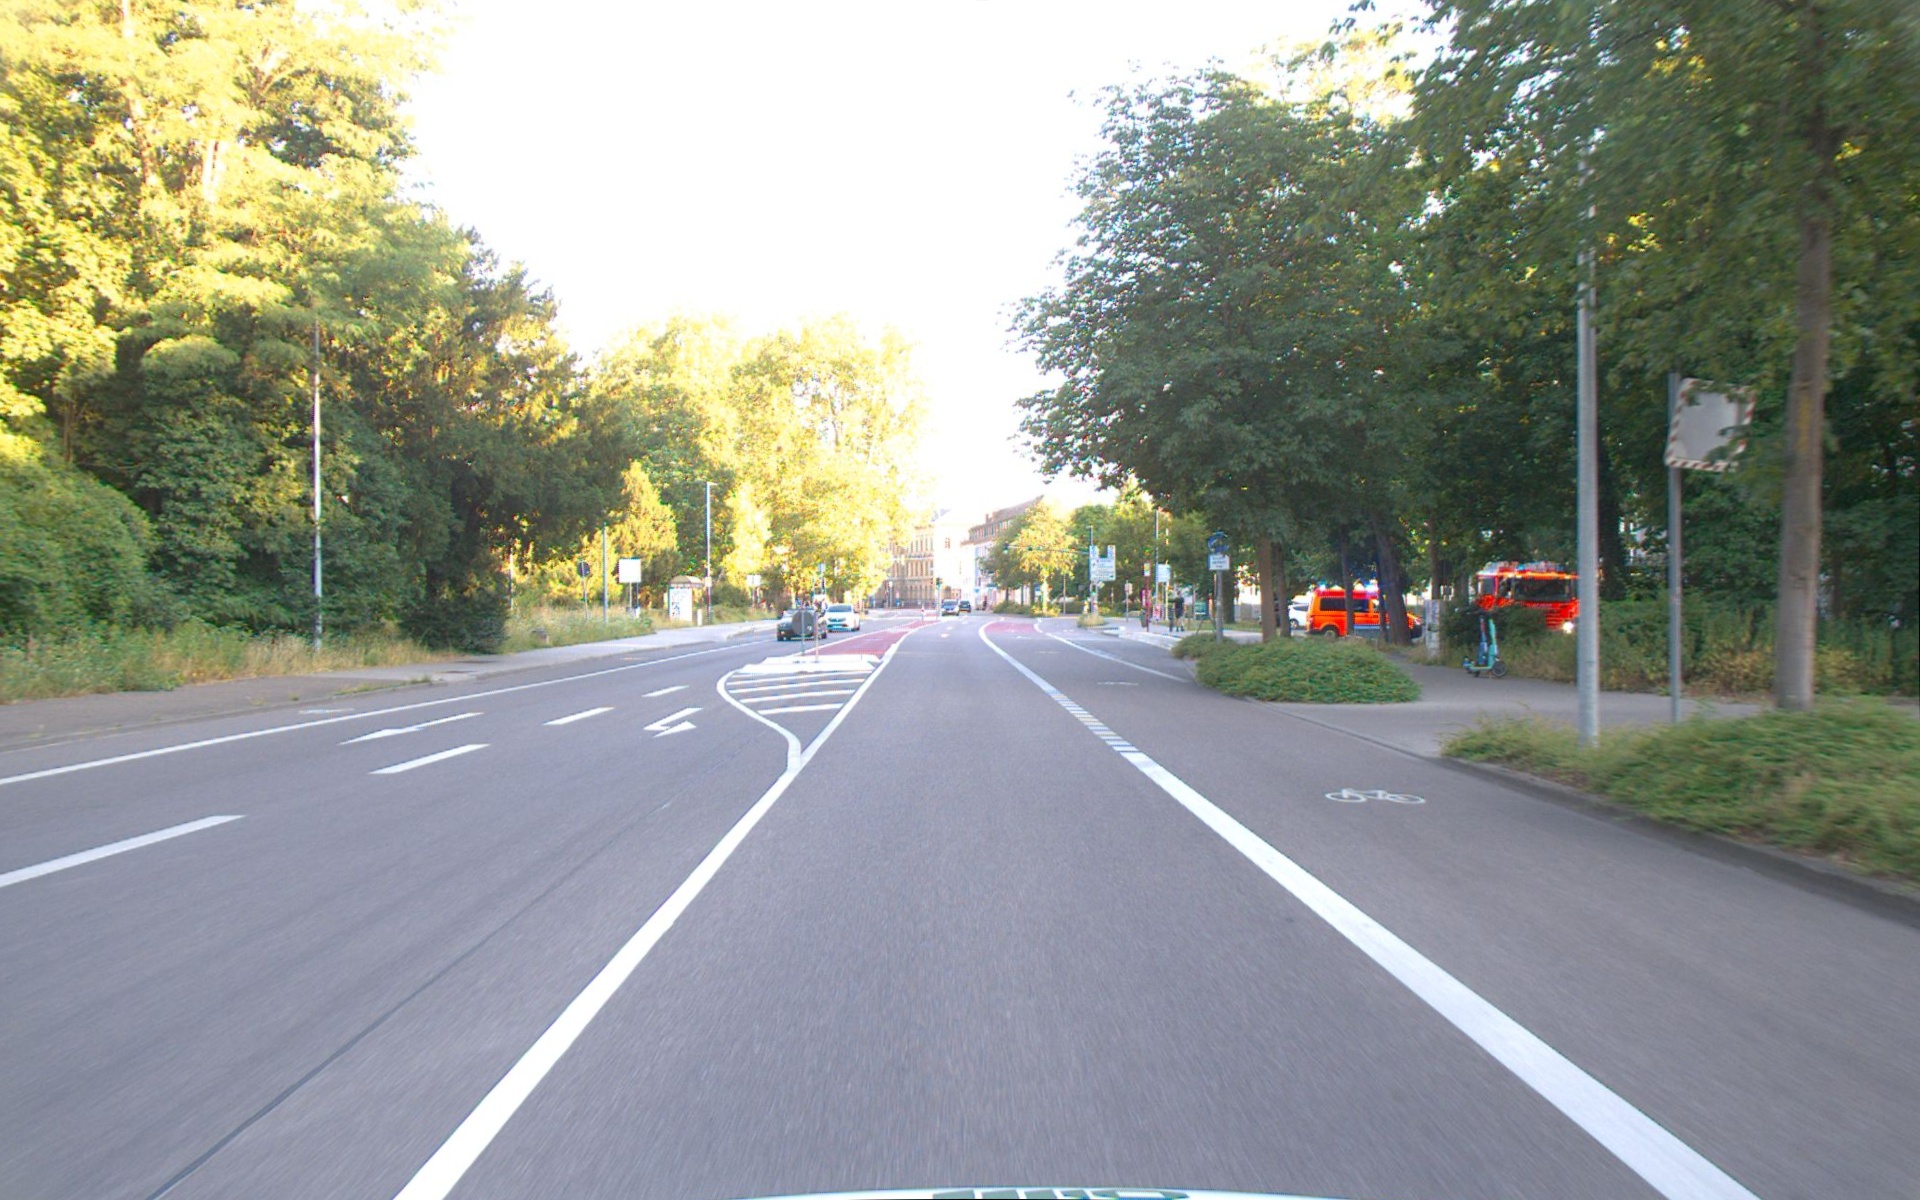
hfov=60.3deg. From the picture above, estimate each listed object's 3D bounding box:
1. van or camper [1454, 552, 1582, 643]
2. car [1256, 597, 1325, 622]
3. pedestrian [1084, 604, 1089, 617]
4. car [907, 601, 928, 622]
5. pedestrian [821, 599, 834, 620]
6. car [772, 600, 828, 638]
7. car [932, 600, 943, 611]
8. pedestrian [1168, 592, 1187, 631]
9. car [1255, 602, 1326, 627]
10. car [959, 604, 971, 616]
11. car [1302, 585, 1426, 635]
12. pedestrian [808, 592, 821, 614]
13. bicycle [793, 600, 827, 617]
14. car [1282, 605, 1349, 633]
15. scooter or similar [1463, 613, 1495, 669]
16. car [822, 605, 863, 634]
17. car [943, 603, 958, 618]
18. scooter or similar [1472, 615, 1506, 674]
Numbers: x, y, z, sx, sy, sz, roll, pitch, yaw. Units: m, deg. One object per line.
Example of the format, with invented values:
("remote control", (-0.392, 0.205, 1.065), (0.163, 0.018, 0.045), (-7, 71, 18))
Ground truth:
("van or camper", (21.847, -0.077, 65.282), (3.364, 3.255, 8.238), (2, 0, 9))
("car", (22.010, 0.636, 110.185), (4.364, 1.618, 1.716), (0, 0, 7))
("pedestrian", (12.182, 0.996, 159.080), (0.382, 1.260, 0.404), (0, 0, 0))
("car", (-3.185, 0.832, 123.729), (1.462, 1.512, 3.490), (0, 0, 0))
("pedestrian", (-10.372, 0.730, 129.531), (0.774, 1.608, 0.746), (1, 0, 8))
("car", (-6.505, 0.768, 67.504), (1.760, 1.478, 4.128), (0, 0, 2))
("car", (-3.050, 0.740, 224.217), (1.462, 1.512, 3.490), (0, 0, 0))
("pedestrian", (9.903, 0.538, 75.219), (0.754, 1.771, 0.731), (0, 0, 0))
("car", (21.285, 0.927, 106.716), (4.364, 1.618, 1.716), (0, 0, 7))
("car", (0.631, 1.251, 213.868), (1.462, 1.512, 3.490), (0, 0, 0))
("car", (16.734, 0.414, 68.713), (4.806, 2.025, 1.923), (0, 0, 7))
("pedestrian", (-10.801, 0.217, 122.957), (0.774, 1.608, 0.746), (1, 0, 8))
("bicycle", (-11.149, 0.611, 123.000), (2.410, 1.216, 0.757), (0, 0, 9))
("car", (20.928, 1.102, 97.388), (3.693, 1.618, 1.716), (0, 0, 7))
("scooter or similar", (10.097, 0.793, 32.178), (0.304, 1.060, 0.980), (0, 0, 0))
("car", (-6.122, 1.008, 86.484), (1.760, 1.478, 4.128), (0, 0, 2))
("car", (-0.980, 1.038, 168.749), (1.462, 1.512, 3.490), (0, 0, 0))
("scooter or similar", (9.809, 0.817, 30.708), (0.304, 1.060, 0.980), (0, 0, 0))
